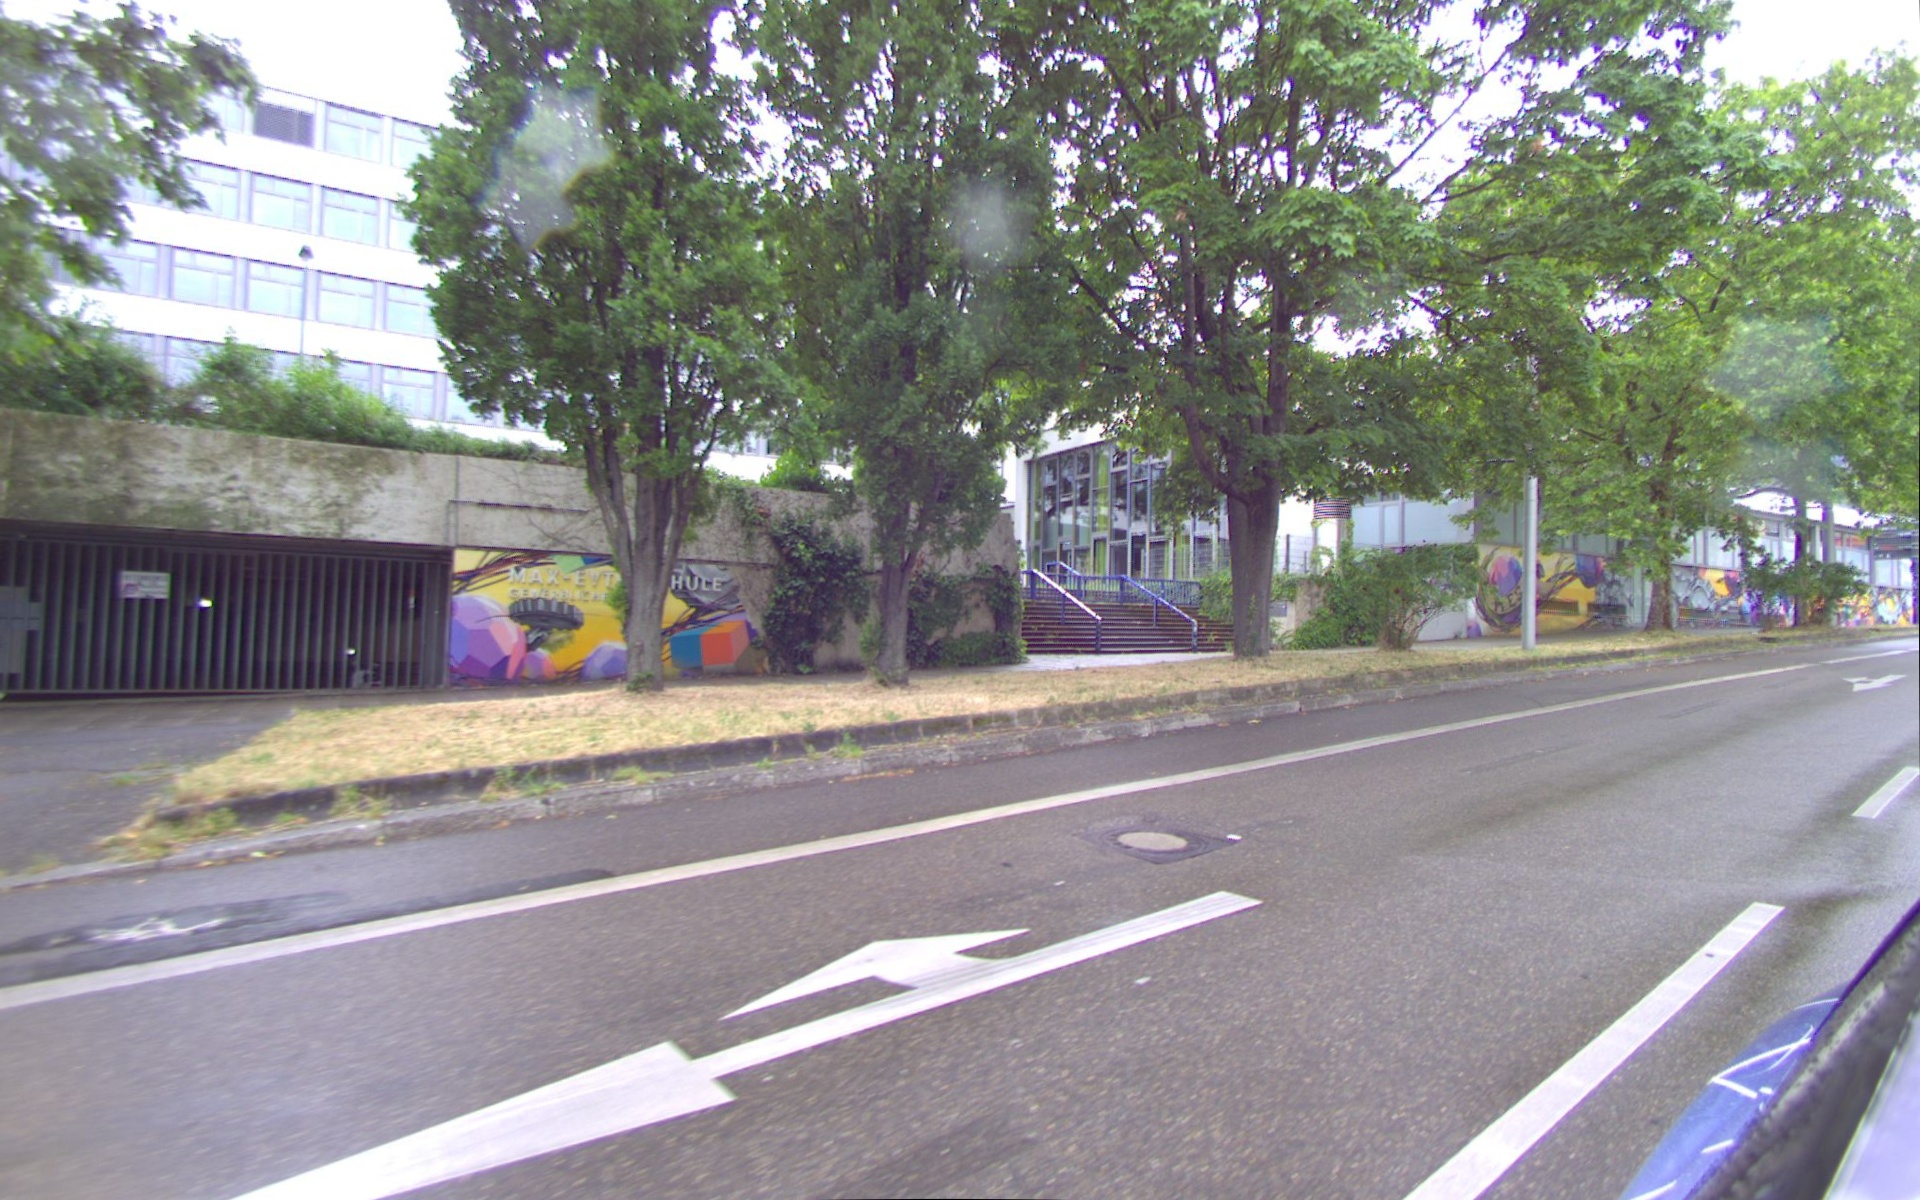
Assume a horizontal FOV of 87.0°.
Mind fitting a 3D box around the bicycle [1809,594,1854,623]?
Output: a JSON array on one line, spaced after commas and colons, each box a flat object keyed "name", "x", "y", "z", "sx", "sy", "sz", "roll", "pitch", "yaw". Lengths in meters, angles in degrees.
[{"name": "bicycle", "x": 35.318, "y": 0.332, "z": 41.007, "sx": 2.156, "sy": 1.126, "sz": 0.809, "roll": 0, "pitch": 0, "yaw": -34}]

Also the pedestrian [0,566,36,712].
[{"name": "pedestrian", "x": -12.849, "y": 0.496, "z": 13.191, "sx": 1.035, "sy": 1.888, "sz": 0.810, "roll": 0, "pitch": 0, "yaw": -31}]

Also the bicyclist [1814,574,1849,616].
[{"name": "bicyclist", "x": 35.356, "y": -0.200, "z": 41.055, "sx": 1.026, "sy": 1.648, "sz": 0.809, "roll": 0, "pitch": 0, "yaw": -33}]
